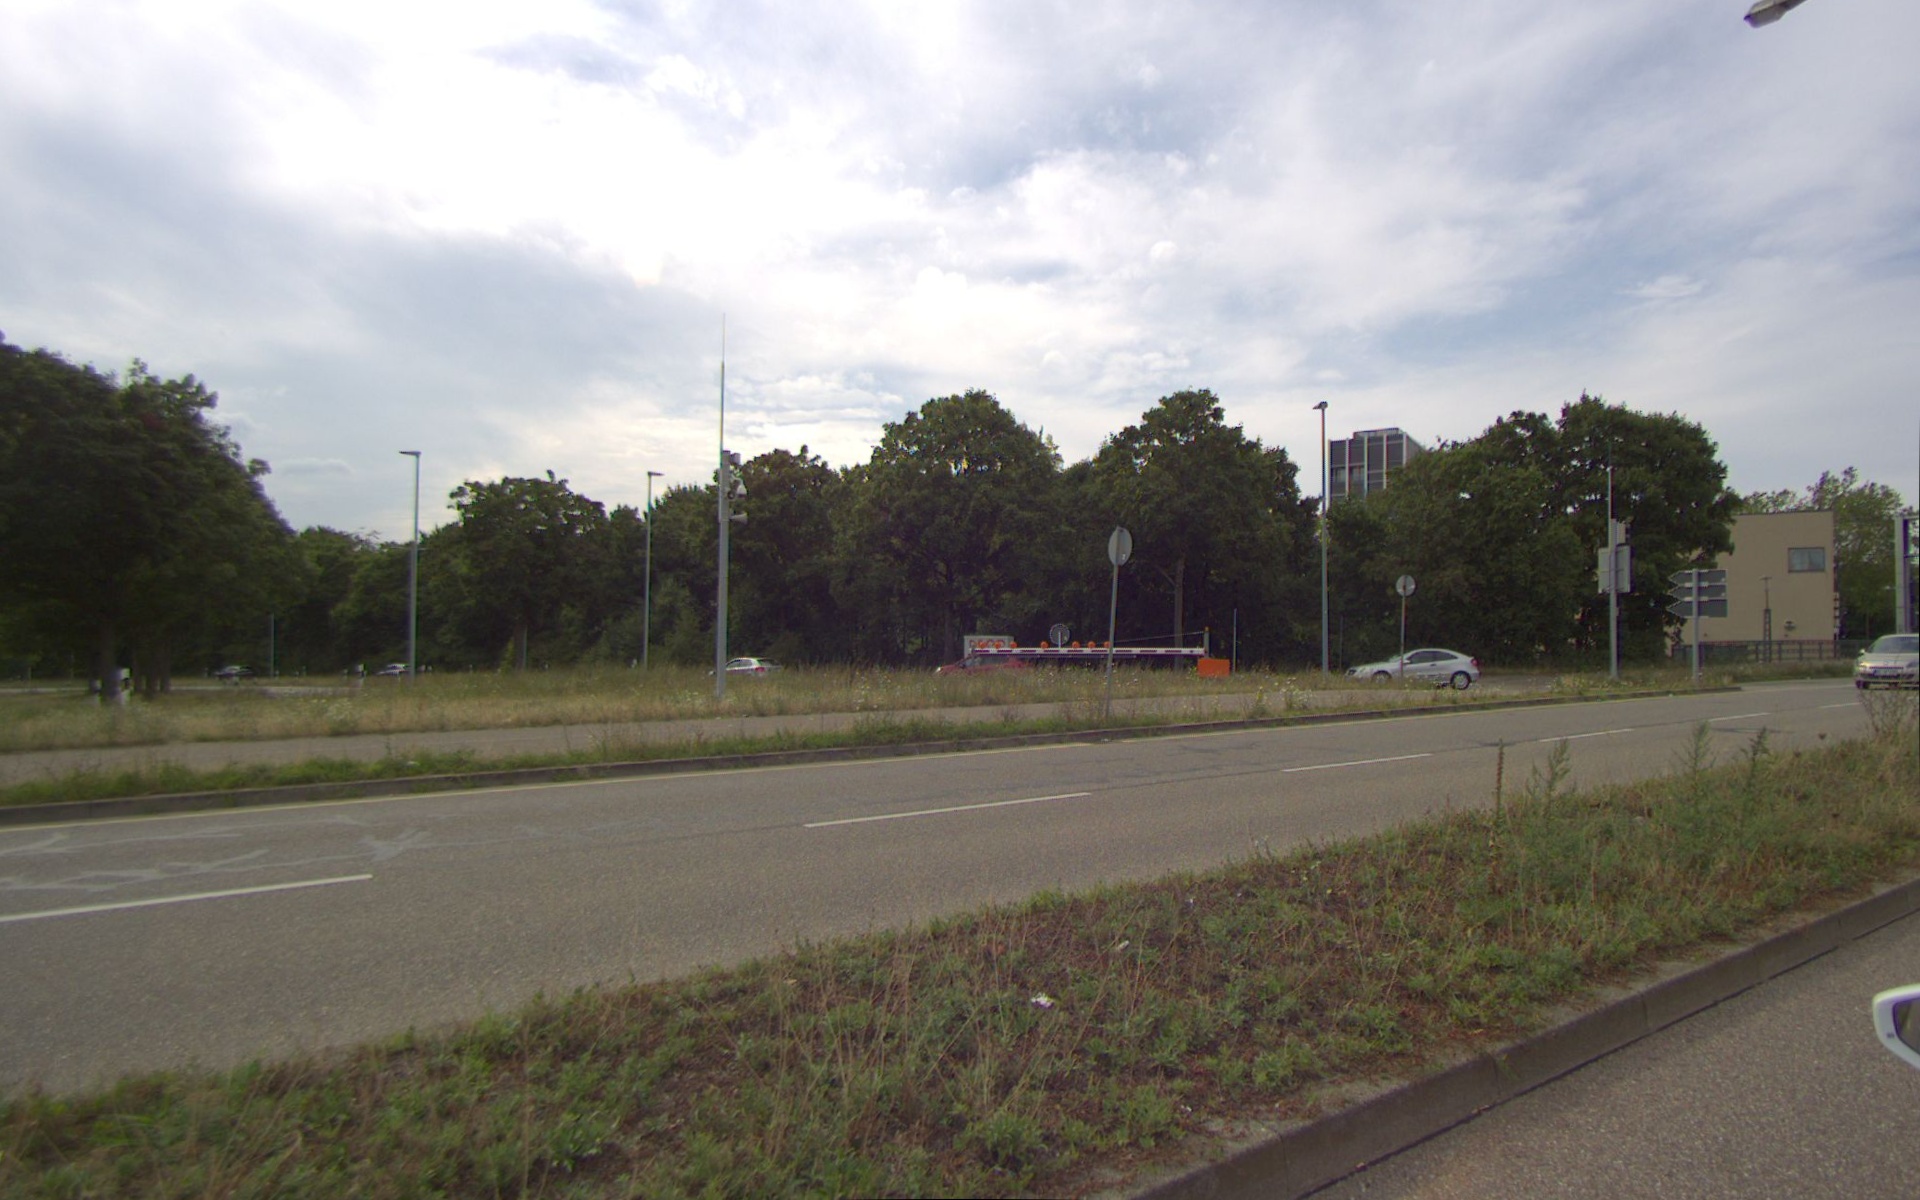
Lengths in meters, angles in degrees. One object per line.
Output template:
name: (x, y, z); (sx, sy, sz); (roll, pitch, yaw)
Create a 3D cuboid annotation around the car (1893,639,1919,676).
car: (40.730, 2.336, 41.633); (4.037, 1.437, 1.661); (0, -2, -26)

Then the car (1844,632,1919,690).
car: (28.535, 1.790, 30.237); (4.516, 1.619, 1.735); (1, -2, -33)

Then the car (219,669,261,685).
car: (-68.621, 7.342, 95.759); (3.805, 1.414, 1.573); (-1, -2, 24)

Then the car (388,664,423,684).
car: (-44.186, 5.883, 80.019); (1.563, 1.414, 3.831); (2, -3, -43)

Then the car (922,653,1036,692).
car: (0.725, 2.759, 38.588); (4.096, 1.386, 1.518); (-1, -2, 19)

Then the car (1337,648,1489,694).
car: (15.344, 2.395, 34.189); (4.373, 1.465, 1.751); (0, -2, 0)

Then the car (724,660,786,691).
car: (-9.238, 3.364, 45.201); (2.967, 1.290, 1.265); (-2, -3, 43)
